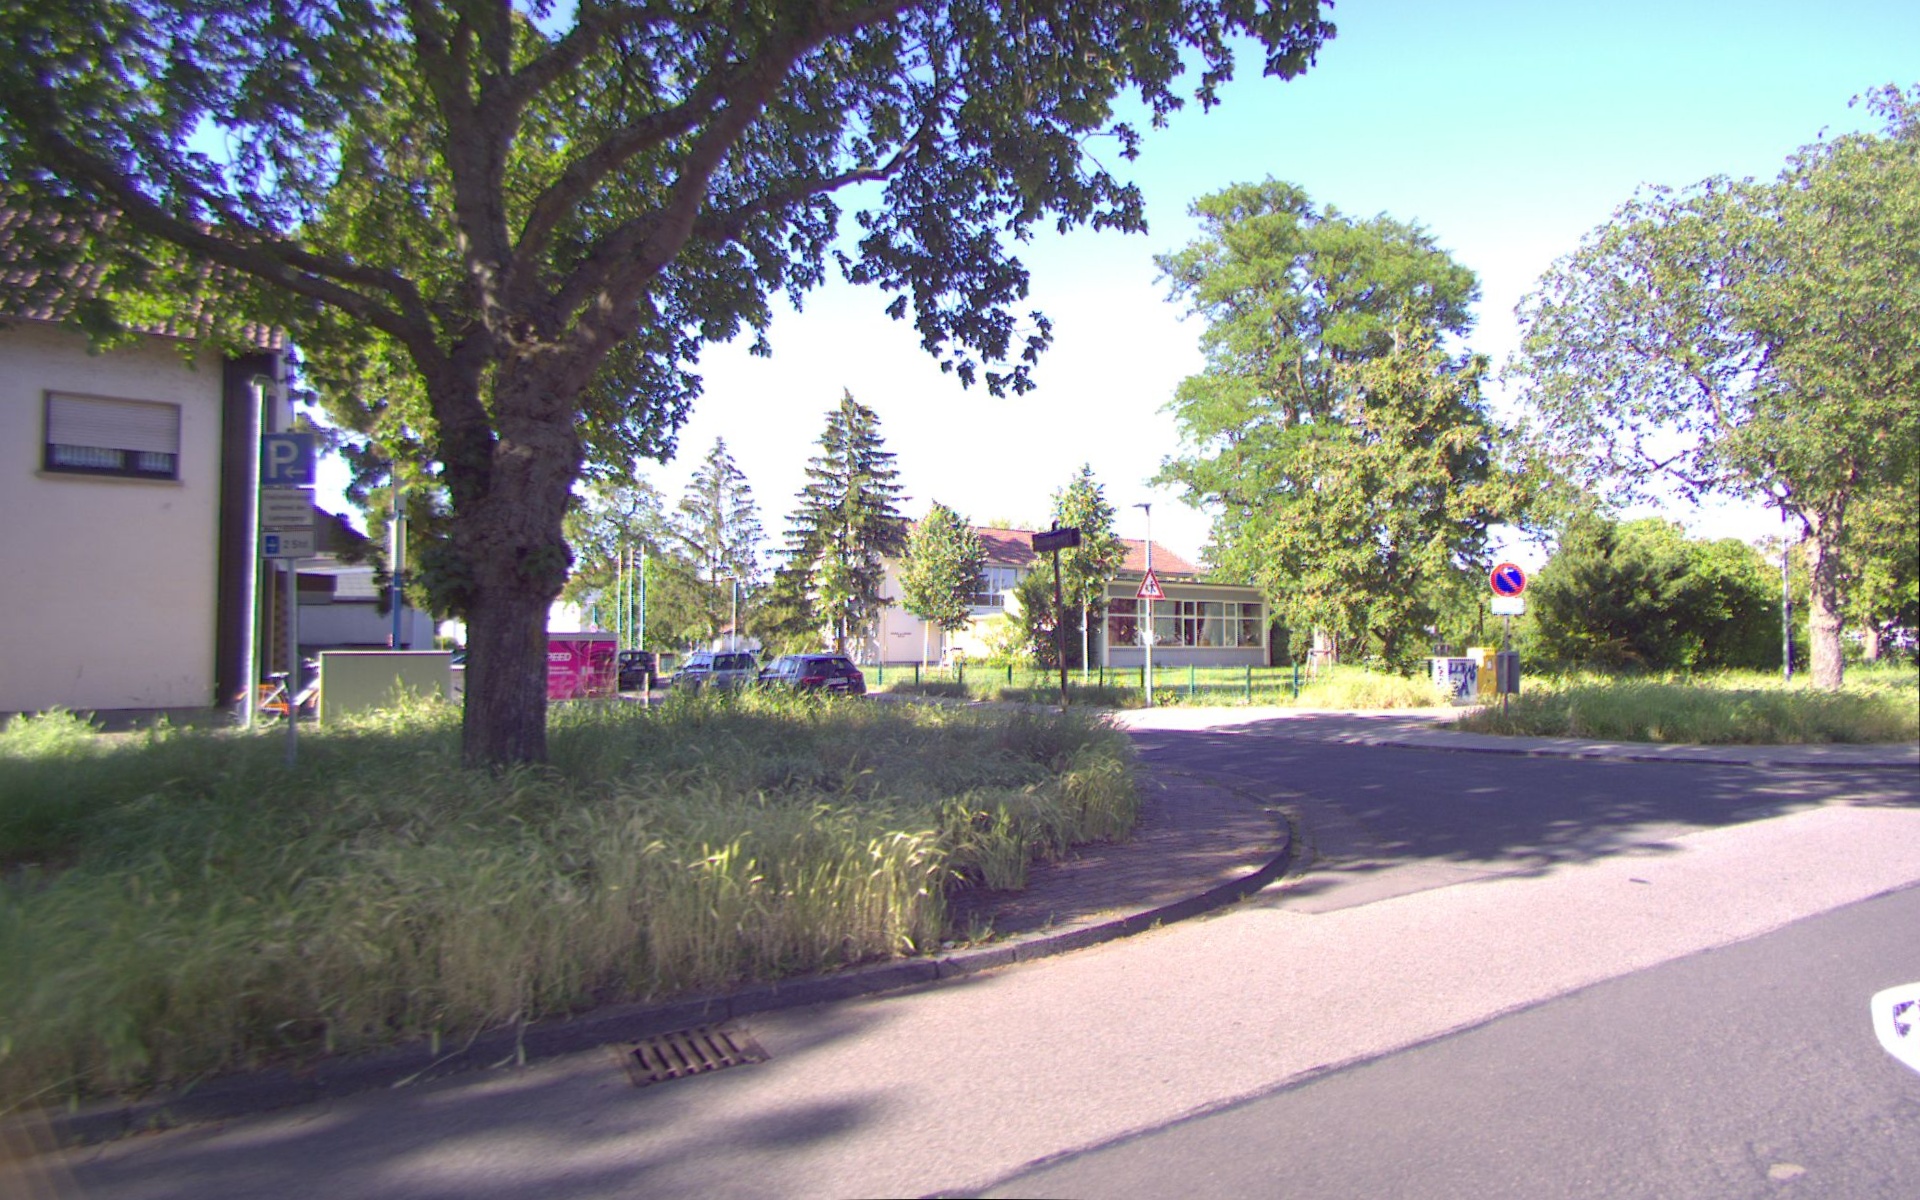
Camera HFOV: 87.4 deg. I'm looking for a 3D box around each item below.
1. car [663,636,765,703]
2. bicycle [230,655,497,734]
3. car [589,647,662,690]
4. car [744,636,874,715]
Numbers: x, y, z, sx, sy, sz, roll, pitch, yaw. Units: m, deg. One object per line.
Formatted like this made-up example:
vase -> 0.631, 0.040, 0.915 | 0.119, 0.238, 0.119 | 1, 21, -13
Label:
car -> -7.395, 2.013, 29.949 | 1.976, 1.844, 3.969 | 2, -2, -29
bicycle -> -10.380, 1.603, 17.758 | 0.696, 1.192, 4.033 | -2, -3, 43
car -> -13.025, 2.612, 38.929 | 1.976, 1.560, 3.970 | 1, -3, -29
car -> -3.718, 1.741, 24.182 | 1.800, 1.737, 3.969 | 2, -2, -29
